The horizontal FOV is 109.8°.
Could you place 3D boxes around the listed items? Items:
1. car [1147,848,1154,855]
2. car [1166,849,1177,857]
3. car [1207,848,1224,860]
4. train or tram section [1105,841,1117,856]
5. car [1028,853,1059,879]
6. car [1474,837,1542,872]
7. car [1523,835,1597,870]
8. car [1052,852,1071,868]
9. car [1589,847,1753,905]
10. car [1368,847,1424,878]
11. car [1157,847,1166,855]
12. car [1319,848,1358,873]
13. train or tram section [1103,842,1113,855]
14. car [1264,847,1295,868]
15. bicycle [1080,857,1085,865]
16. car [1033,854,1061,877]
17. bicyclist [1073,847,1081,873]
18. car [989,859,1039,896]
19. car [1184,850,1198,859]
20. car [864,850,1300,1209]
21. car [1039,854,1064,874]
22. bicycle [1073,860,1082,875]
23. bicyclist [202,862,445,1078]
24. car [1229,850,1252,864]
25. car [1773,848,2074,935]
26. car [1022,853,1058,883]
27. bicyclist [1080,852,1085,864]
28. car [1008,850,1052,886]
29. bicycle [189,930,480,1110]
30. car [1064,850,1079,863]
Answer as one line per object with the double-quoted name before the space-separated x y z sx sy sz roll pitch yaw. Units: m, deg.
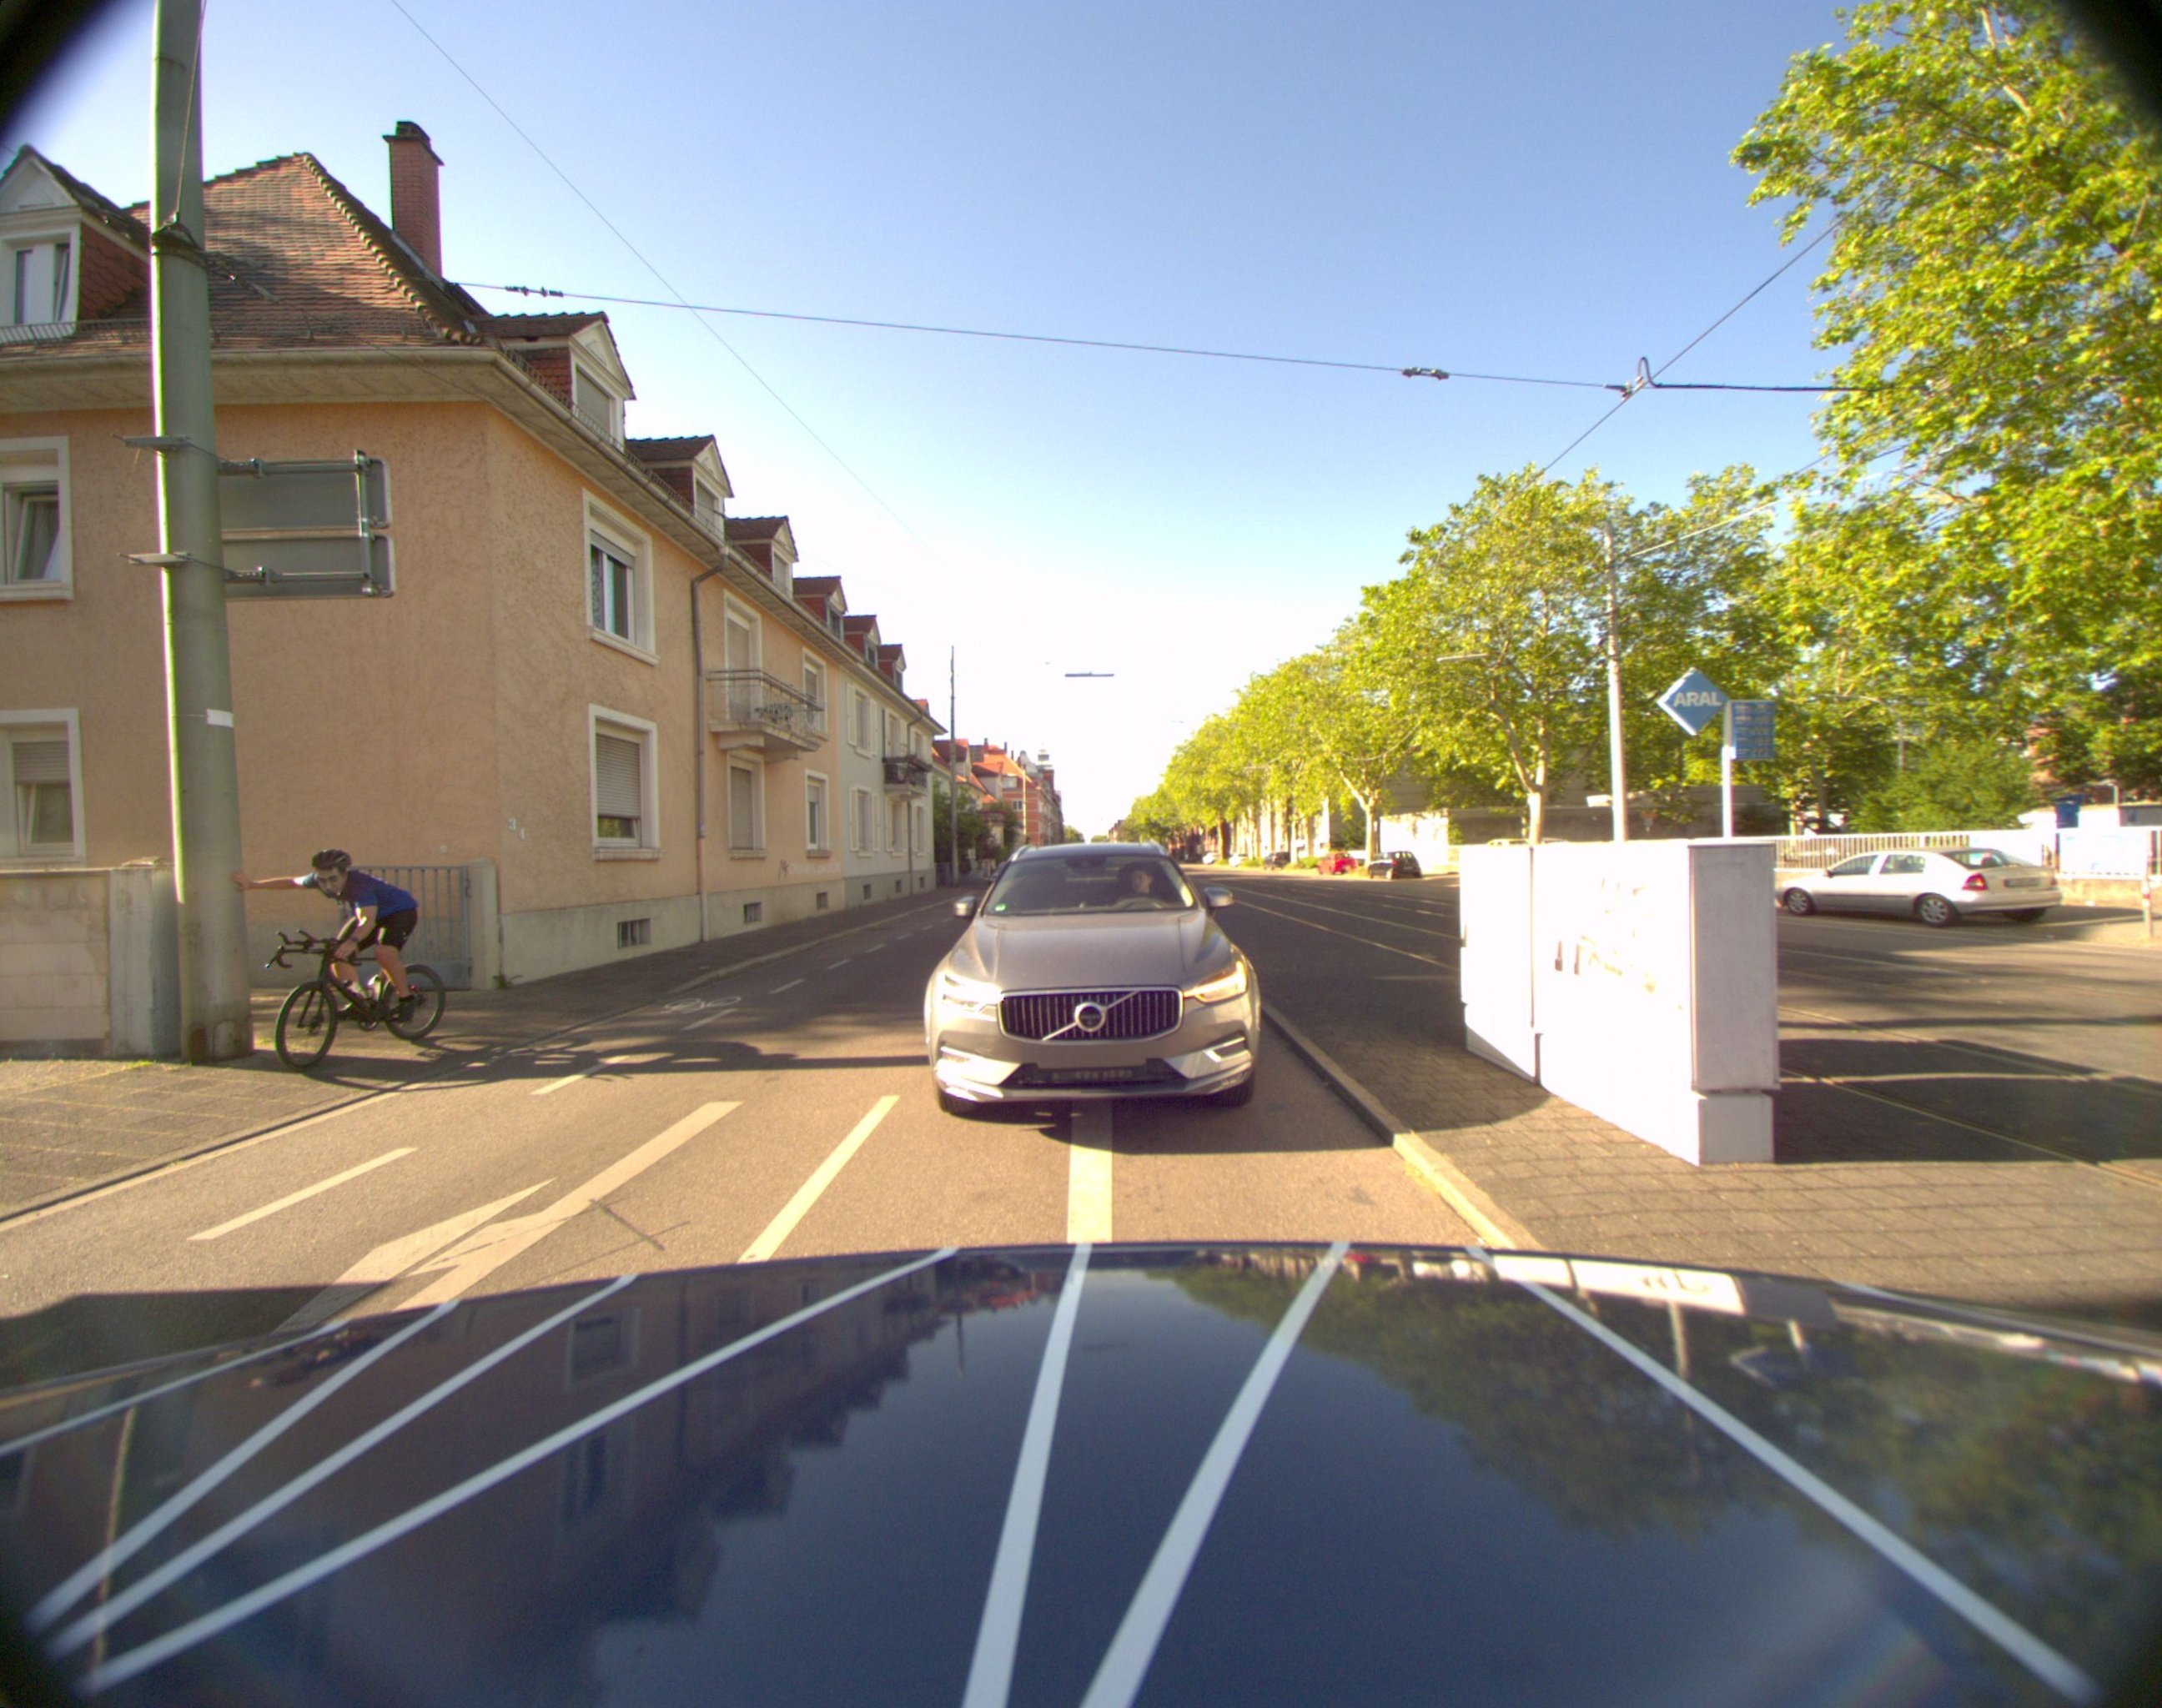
"car" 19.675 -0.637 214.807 1.695 1.775 3.749 -3 0 1
"car" 19.283 -0.204 161.876 1.695 1.440 3.749 -3 0 1
"car" 17.803 0.020 100.714 1.695 1.440 3.749 -3 0 1
"train or tram section" 7.709 -1.439 198.310 2.717 3.643 12.653 -1 0 0
"car" -2.625 0.832 54.006 1.793 1.673 3.814 -3 0 2
"car" 21.552 0.013 38.473 1.599 1.606 3.304 -2 0 1
"car" 23.885 -0.083 38.025 1.599 1.583 3.304 -2 0 1
"car" -2.142 0.630 85.370 1.793 1.673 3.814 -3 0 2
"car" 16.416 0.560 21.416 1.695 1.395 3.749 -3 0 1
"car" 16.891 0.425 40.895 1.599 1.498 3.304 -3 0 1
"car" 20.257 -0.740 191.413 1.695 1.775 3.749 -3 0 1
"car" 16.884 0.432 49.866 1.599 1.498 2.622 -3 0 1
"train or tram section" 7.873 -1.559 223.596 2.717 3.643 12.653 -1 0 0
"car" 17.145 0.270 65.889 1.695 1.648 3.749 -3 0 1
"bicycle" 0.240 0.982 104.744 0.685 1.098 1.806 -2 1 1
"car" -2.712 0.882 61.031 1.793 1.673 3.814 -3 0 2
"bicyclist" -0.296 0.465 56.640 0.519 1.922 0.946 -1 -2 3
"car" -3.217 1.082 37.048 1.695 1.571 3.815 -3 0 5
"car" 18.211 0.064 125.522 1.695 1.440 3.749 -3 0 1
"car" 0.034 0.827 5.754 1.998 1.628 4.306 -2 0 1
"car" -2.543 0.856 67.076 1.793 1.673 3.814 -3 0 2
"bicycle" -0.280 1.010 56.692 0.519 1.084 1.797 -1 -2 3
"bicyclist" -6.215 0.899 6.304 1.051 1.599 0.885 4 0 1
"car" 17.472 0.288 83.543 1.695 1.440 3.749 -3 0 1
"car" 16.230 0.640 14.981 1.695 1.395 3.813 -3 0 1
"car" -2.578 0.851 48.486 1.793 1.673 3.814 -3 0 2
"bicyclist" 0.225 0.595 104.695 0.685 1.611 0.855 -2 1 1
"car" -2.818 0.739 42.821 1.793 1.828 5.149 -3 0 2
"bicycle" -6.003 1.269 6.283 0.592 1.062 1.775 4 0 1
"car" -1.282 0.358 107.103 1.793 1.673 3.814 -3 0 2
